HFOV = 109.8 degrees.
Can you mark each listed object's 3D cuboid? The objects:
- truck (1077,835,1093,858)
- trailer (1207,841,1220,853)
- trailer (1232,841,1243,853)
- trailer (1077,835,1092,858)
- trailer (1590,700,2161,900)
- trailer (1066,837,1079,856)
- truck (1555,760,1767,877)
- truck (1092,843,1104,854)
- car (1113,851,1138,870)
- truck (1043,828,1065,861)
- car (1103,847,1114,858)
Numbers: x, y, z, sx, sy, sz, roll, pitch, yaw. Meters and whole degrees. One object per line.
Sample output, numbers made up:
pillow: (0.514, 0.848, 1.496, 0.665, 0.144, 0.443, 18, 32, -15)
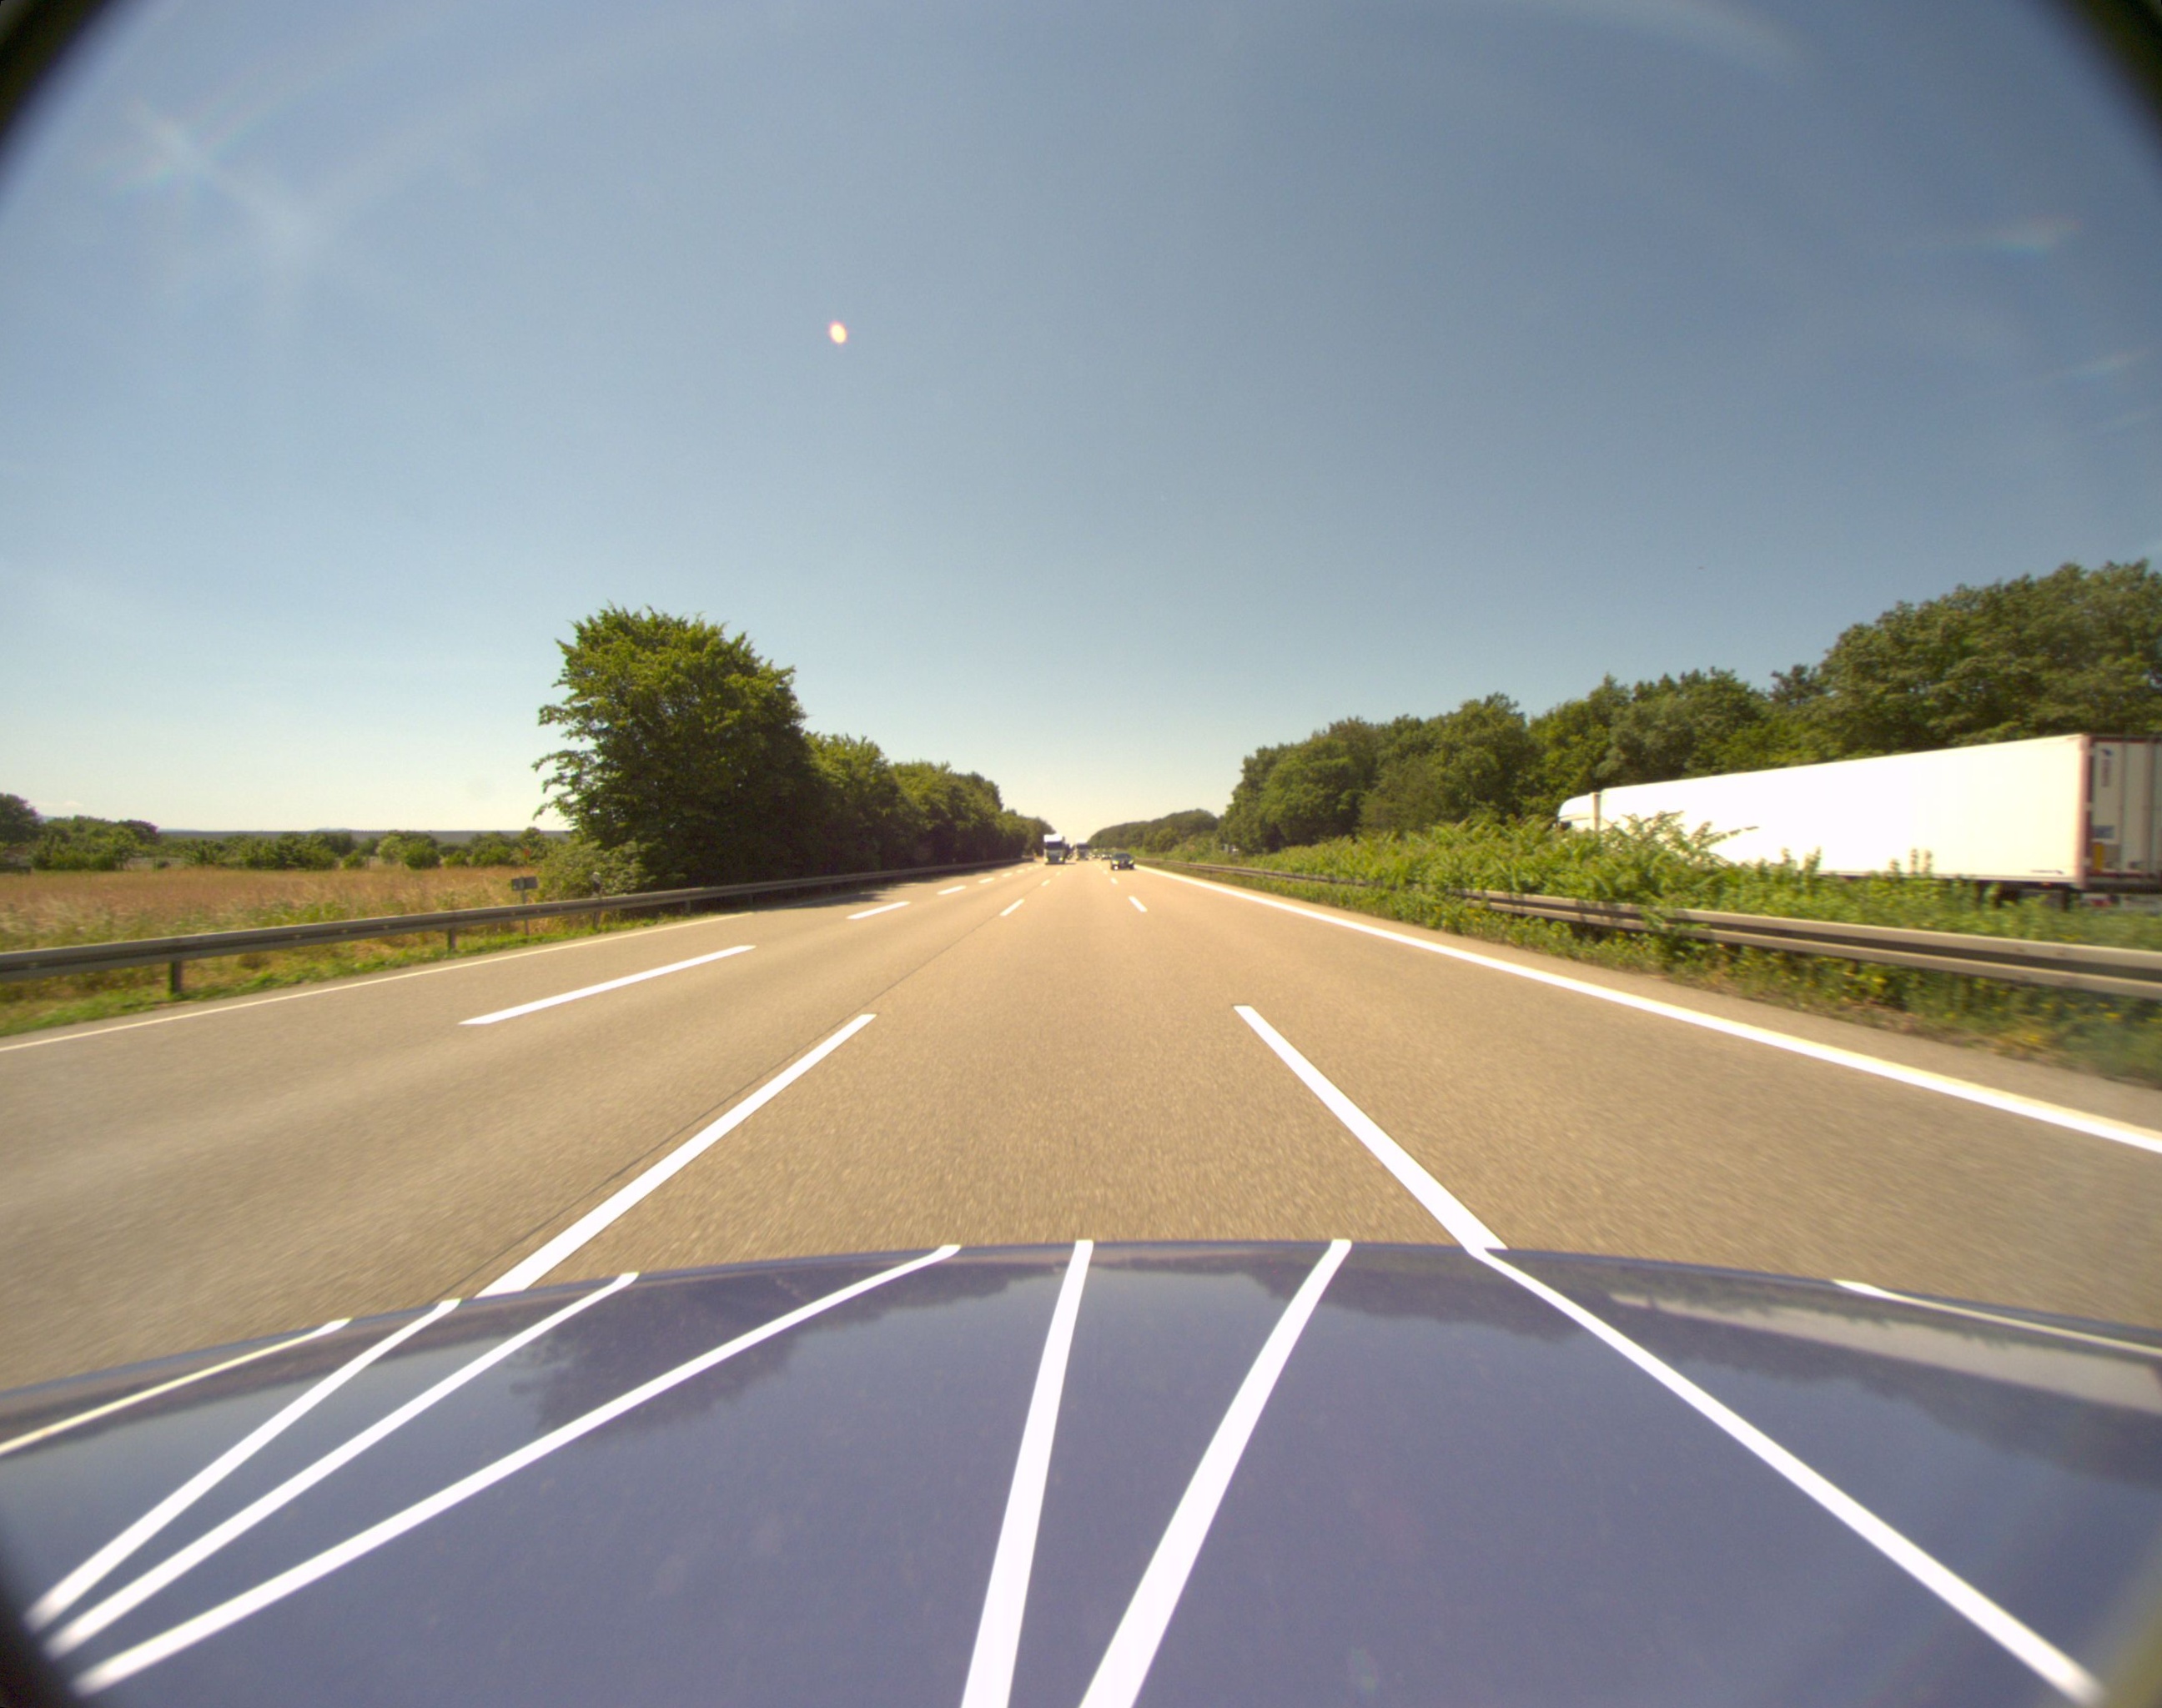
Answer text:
truck: (0.668, -1.483, 146.779, 2.863, 4.247, 5.410, -2, 1, 0)
trailer: (45.927, -2.420, 263.704, 3.222, 4.112, 14.054, -2, 1, 5)
trailer: (51.500, -2.271, 250.211, 3.606, 3.634, 14.035, 0, 0, 12)
trailer: (0.616, -1.542, 153.492, 2.863, 4.247, 11.469, -2, 1, 0)
trailer: (20.591, -1.115, 21.335, 3.187, 3.677, 14.382, -2, 1, 2)
trailer: (-2.100, -1.770, 176.812, 2.864, 4.247, 11.469, -1, 1, -1)
truck: (20.789, -1.182, 27.802, 3.187, 3.677, 6.036, -2, 1, 2)
truck: (4.154, -1.288, 183.269, 2.576, 2.461, 5.614, -2, 1, 0)
car: (3.676, 0.546, 63.752, 1.811, 1.399, 3.999, -4, 1, 0)
truck: (-3.673, -1.324, 104.680, 2.864, 4.247, 6.862, -2, 1, -1)
car: (4.909, -0.249, 134.128, 1.806, 1.774, 3.999, -1, 1, 0)
